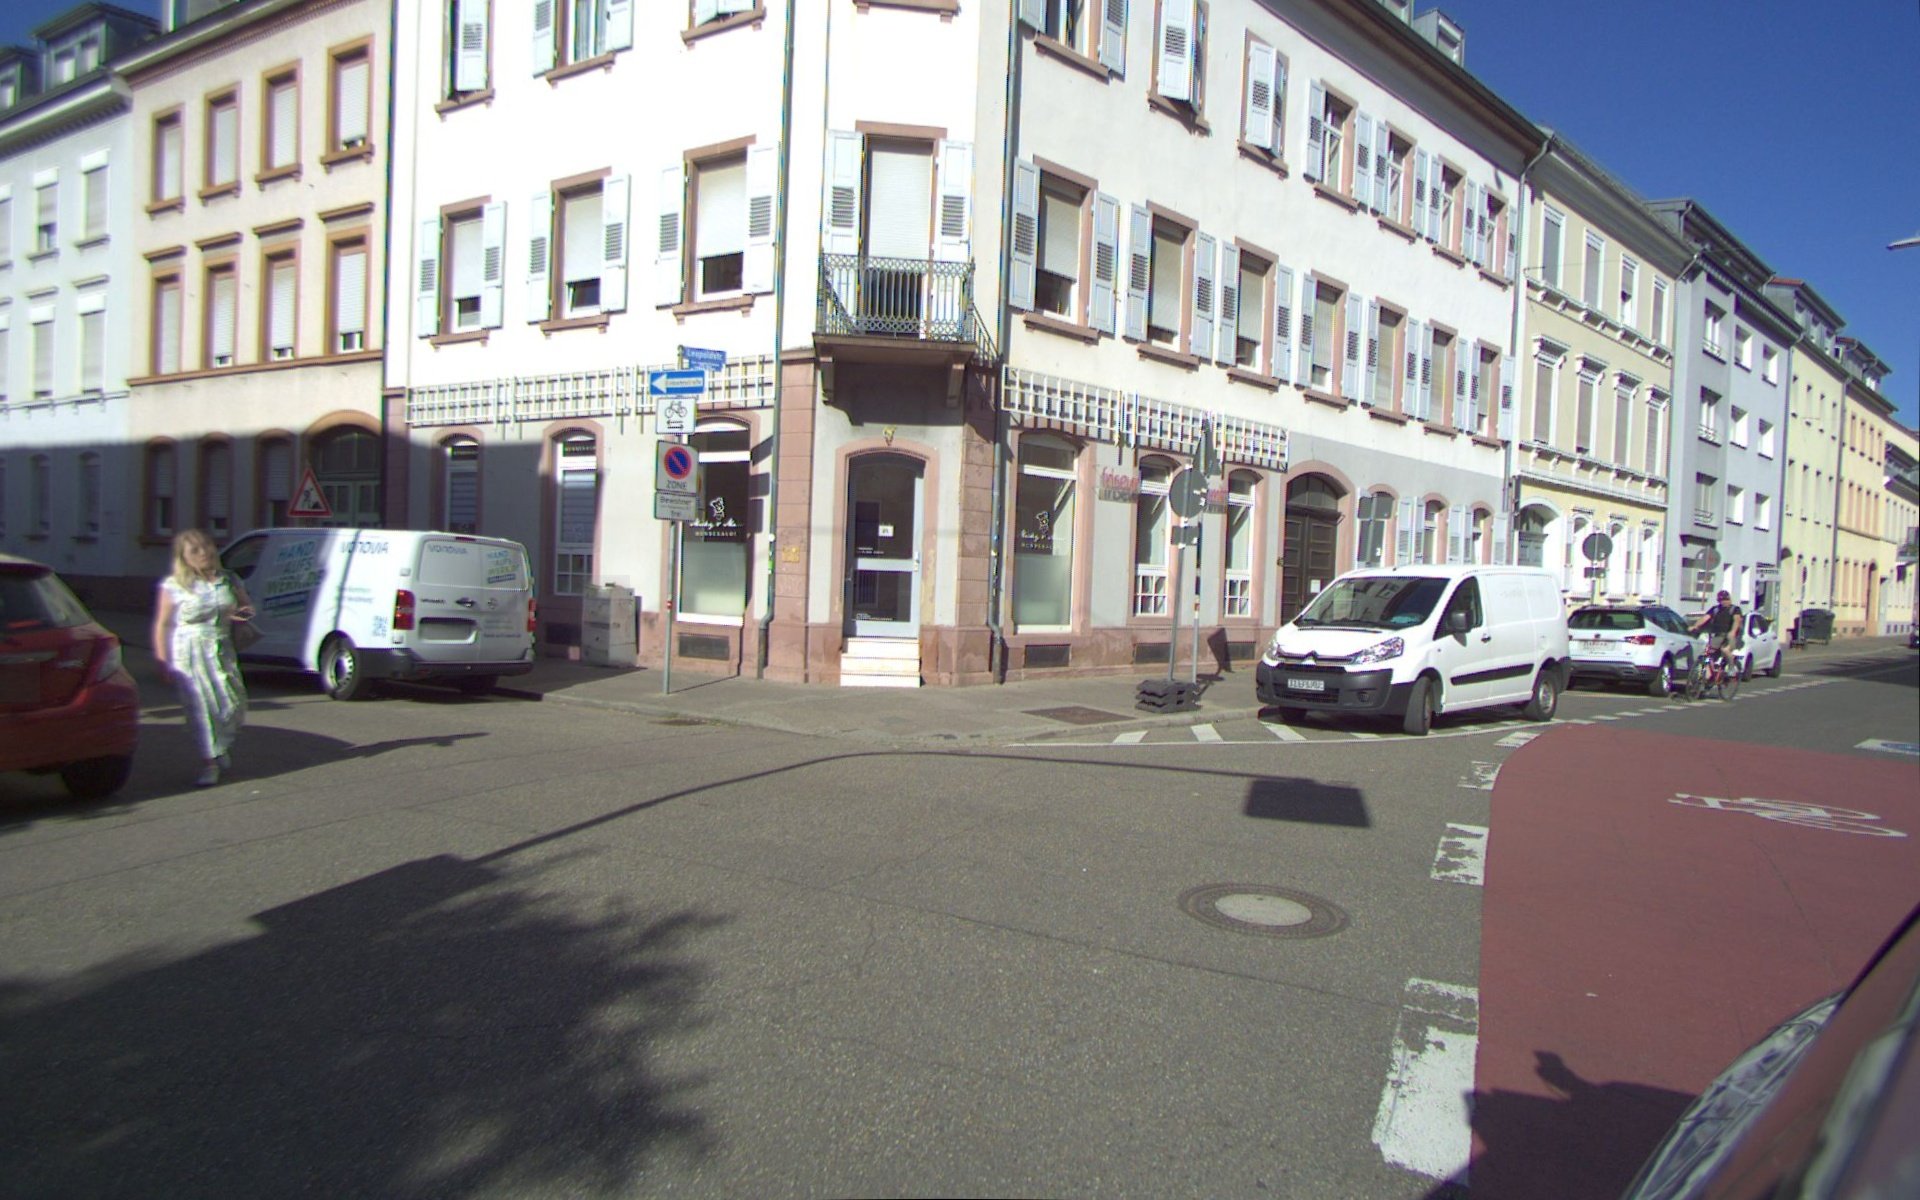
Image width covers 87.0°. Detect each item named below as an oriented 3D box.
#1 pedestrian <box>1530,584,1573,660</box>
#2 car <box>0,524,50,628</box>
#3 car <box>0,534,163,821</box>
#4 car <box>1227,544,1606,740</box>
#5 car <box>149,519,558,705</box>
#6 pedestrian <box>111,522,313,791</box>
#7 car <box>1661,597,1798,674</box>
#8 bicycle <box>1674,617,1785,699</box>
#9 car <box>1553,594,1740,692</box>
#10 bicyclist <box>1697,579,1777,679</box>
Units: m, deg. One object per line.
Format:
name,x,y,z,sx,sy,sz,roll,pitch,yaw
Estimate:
pedestrian,13.134,0.479,22.461,0.627,1.620,0.584,1,1,-37
car,-19.224,-0.521,19.108,3.961,1.882,1.881,3,1,30
car,-6.841,0.353,6.203,3.771,1.518,1.675,3,4,28
car,5.725,0.420,12.427,4.931,1.970,2.051,1,1,-37
car,-7.481,0.060,12.392,4.966,1.883,1.882,3,-1,27
pedestrian,-4.886,0.329,6.638,0.805,1.634,0.731,2,1,17
car,17.103,0.751,22.441,3.573,1.561,1.630,1,0,-39
bicycle,12.462,0.912,16.378,1.886,1.214,0.674,0,2,-28
car,12.535,0.717,18.382,4.304,1.561,1.644,1,0,-39
bicyclist,12.635,0.464,16.457,1.004,1.566,0.639,2,1,-28
